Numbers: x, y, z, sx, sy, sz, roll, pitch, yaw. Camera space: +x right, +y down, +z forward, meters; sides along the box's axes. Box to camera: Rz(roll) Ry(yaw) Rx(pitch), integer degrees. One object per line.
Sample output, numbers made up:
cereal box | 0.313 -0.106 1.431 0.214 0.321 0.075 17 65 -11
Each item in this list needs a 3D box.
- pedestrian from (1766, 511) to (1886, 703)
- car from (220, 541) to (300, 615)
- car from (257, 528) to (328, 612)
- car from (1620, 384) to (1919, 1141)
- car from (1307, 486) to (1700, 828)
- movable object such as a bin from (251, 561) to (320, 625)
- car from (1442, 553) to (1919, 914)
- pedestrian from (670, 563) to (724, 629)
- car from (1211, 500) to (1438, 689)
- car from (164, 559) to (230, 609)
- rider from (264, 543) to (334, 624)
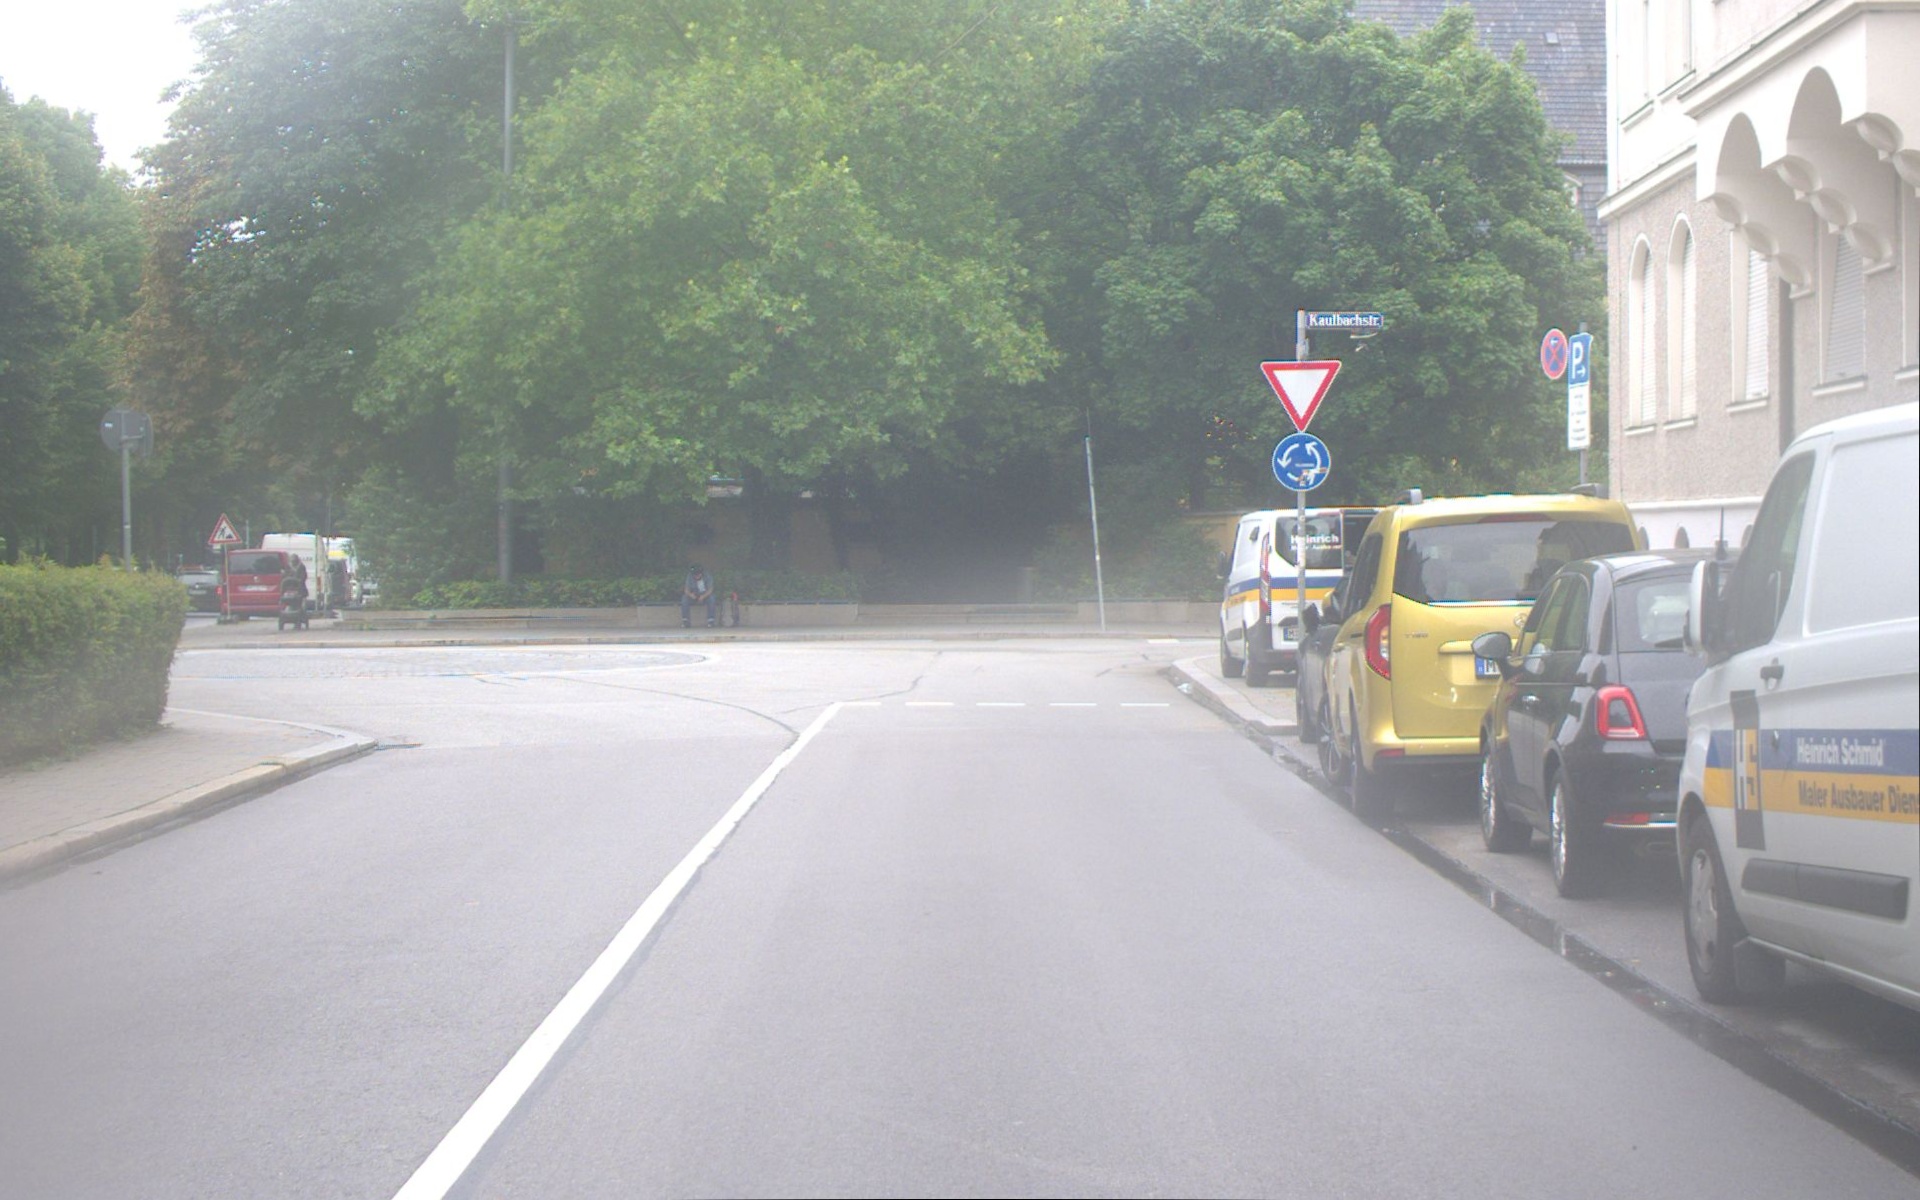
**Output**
pedestrian | 8.085 0.066 32.105 0.691 1.731 0.735 -2 -2 -44
car | -18.685 -0.603 91.910 2.041 1.916 4.447 -1 1 -11
car | -20.854 -0.944 107.538 2.041 2.549 5.250 0 1 -10
car | 3.392 0.393 9.619 1.959 1.930 4.994 -1 1 -2
car | 3.190 0.271 21.069 1.850 1.846 4.820 0 1 3
movable object such as a bin | -14.205 -0.151 72.453 1.078 1.263 1.086 -3 1 8
car | 3.316 0.526 16.114 1.631 1.479 3.783 -1 1 1
pedestrian | -4.770 -0.083 62.324 0.812 1.185 0.919 0 1 6
car | 4.045 -0.100 38.945 1.915 1.955 4.927 -1 1 -1
car | -23.237 -0.508 104.793 1.787 1.487 4.001 -1 1 -10
rider | -14.094 -0.361 73.337 1.082 1.662 1.139 -3 1 8
